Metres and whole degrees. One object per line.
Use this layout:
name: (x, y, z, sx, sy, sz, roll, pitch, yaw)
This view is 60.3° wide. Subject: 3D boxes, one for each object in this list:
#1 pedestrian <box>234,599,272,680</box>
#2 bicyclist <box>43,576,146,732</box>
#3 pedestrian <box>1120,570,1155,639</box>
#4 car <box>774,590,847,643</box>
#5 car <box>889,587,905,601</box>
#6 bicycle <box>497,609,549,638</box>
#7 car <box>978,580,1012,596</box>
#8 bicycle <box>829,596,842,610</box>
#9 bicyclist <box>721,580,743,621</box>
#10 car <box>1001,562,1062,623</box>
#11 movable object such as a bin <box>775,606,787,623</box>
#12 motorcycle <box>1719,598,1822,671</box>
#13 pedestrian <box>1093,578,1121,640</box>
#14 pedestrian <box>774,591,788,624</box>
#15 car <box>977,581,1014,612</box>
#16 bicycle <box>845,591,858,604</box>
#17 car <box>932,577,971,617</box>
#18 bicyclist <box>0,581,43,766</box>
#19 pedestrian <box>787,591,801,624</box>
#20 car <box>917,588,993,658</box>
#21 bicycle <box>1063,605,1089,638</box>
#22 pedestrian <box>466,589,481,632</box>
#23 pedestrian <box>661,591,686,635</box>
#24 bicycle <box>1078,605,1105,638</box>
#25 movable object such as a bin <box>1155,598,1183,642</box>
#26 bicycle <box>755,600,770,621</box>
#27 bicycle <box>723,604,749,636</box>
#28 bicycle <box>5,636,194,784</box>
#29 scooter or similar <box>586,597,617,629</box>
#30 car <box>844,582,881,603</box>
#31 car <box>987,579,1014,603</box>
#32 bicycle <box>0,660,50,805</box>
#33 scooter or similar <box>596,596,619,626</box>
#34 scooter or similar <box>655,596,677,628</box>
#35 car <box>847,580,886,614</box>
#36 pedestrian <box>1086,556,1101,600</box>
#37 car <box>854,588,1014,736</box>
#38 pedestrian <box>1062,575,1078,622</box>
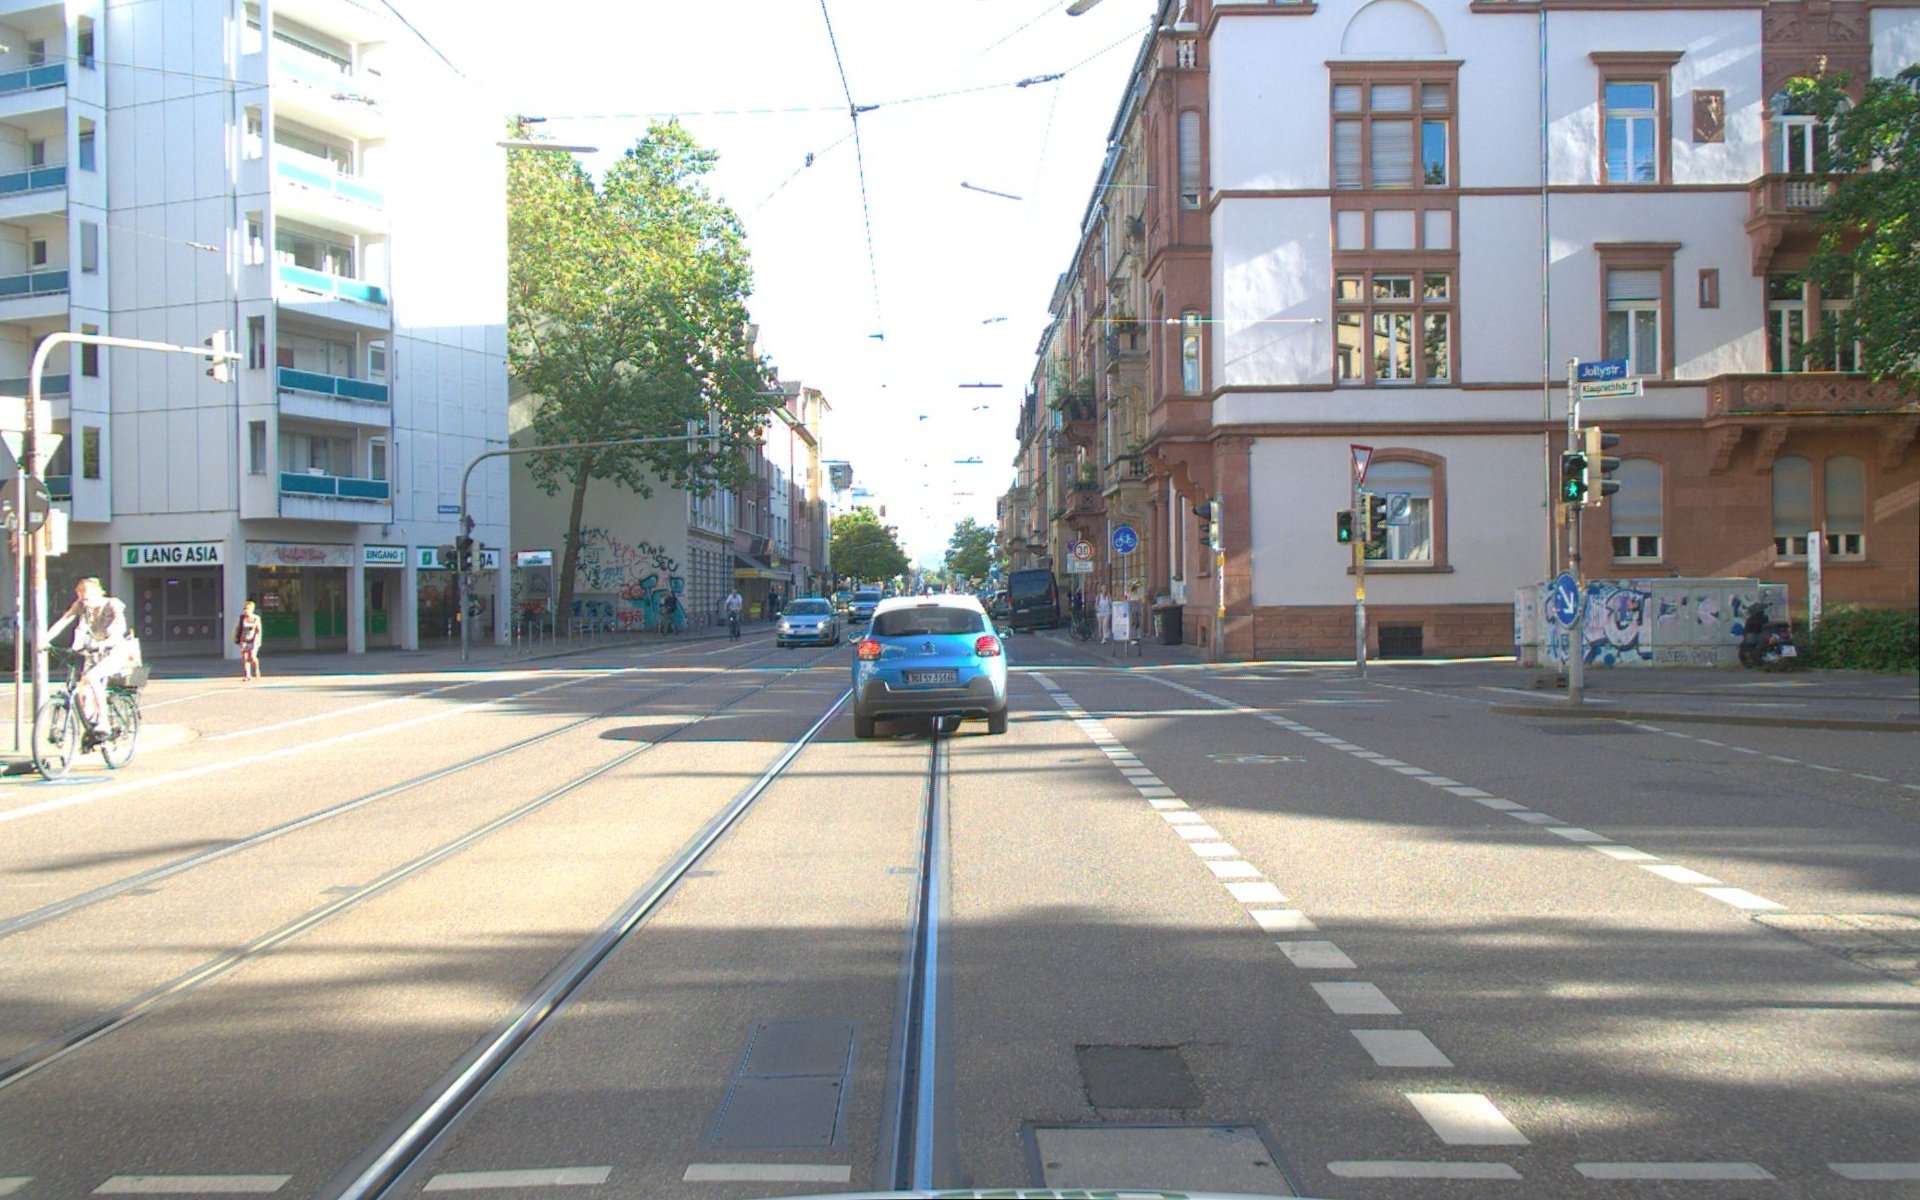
pedestrian: (-14.145, 0.785, 33.111, 0.531, 1.579, 0.516, -1, 0, -2)
bicyclist: (-7.966, 0.485, 15.246, 0.578, 1.400, 0.679, -1, 0, -2)
pedestrian: (4.895, 0.123, 45.591, 0.691, 1.812, 0.672, -6, 0, -2)
car: (-4.609, 0.486, 51.544, 1.945, 1.528, 4.307, -1, 1, -2)
car: (-7.692, -0.757, 202.400, 1.953, 1.679, 3.999, -1, 1, -2)
bicycle: (-16.389, 0.883, 62.041, 1.878, 1.052, 0.665, -1, 0, 26)
car: (3.935, -1.369, 187.134, 3.759, 1.646, 1.790, -1, 0, -3)
bicycle: (-12.168, 0.287, 161.611, 1.099, 1.342, 3.639, -1, 1, -6)
bicyclist: (-8.443, 0.013, 61.225, 0.668, 1.509, 0.778, -1, 0, -2)
car: (2.999, -0.333, 70.229, 2.225, 2.479, 5.719, -1, 0, -1)
movable object such as a bin: (-10.132, 0.838, 93.699, 0.598, 0.930, 0.695, -1, 0, -1)
motorcycle: (14.317, 0.586, 29.295, 0.598, 1.144, 2.390, -1, 2, -2)
pedestrian: (4.151, 0.253, 46.845, 0.615, 1.731, 0.681, -1, 0, -10)
pedestrian: (-10.041, 0.424, 93.043, 0.696, 1.795, 0.570, -1, 0, -2)
car: (2.057, -0.232, 97.620, 1.965, 1.701, 4.805, -1, 1, -1)
bicycle: (-10.638, -0.261, 161.876, 1.099, 1.166, 3.639, -1, 1, -6)
car: (-0.492, -0.188, 88.726, 1.953, 2.049, 3.999, -1, 1, -2)
bicyclist: (-7.656, 0.569, 12.436, 0.720, 1.405, 1.468, -1, 0, -2)
pedestrian: (-9.356, 0.413, 93.387, 0.697, 1.795, 0.653, -1, 0, -9)
car: (-0.163, 0.508, 38.855, 1.633, 1.504, 3.999, -1, 1, -2)
bicycle: (3.490, 0.642, 49.832, 0.423, 0.964, 1.760, -1, 0, -8)
pedestrian: (-19.986, 0.447, 67.965, 0.446, 1.748, 0.547, -1, 0, -2)
pedestrian: (-11.730, 0.517, 67.703, 0.668, 1.796, 1.026, -1, 0, 10)
bicycle: (3.964, 0.648, 49.905, 0.423, 0.964, 1.760, -1, 0, -8)
movable object such as a bin: (5.605, 0.538, 44.334, 0.652, 1.174, 0.594, -1, 0, -2)
bicycle: (-11.568, 0.595, 96.854, 0.610, 1.180, 2.058, -1, 1, -14)
bicycle: (-8.261, 0.726, 61.083, 0.679, 1.140, 2.083, -1, 1, -2)
bicycle: (-7.911, 0.976, 15.318, 0.716, 1.204, 2.061, -1, 0, -2)
scooter or similar: (-14.842, 0.518, 68.502, 1.207, 1.280, 0.765, -1, 0, -13)
car: (-12.401, -0.987, 210.384, 4.256, 2.626, 2.191, -1, 0, -27)
car: (2.962, -0.683, 121.533, 1.964, 1.701, 4.391, -1, 0, 1)
bicycle: (-7.745, 1.041, 12.438, 0.716, 1.084, 2.061, -1, 0, -2)
scooter or similar: (-14.814, 0.460, 69.443, 0.921, 1.243, 0.765, -1, 0, -13)
scooter or similar: (-12.408, 0.492, 69.854, 0.772, 1.294, 1.074, 1, 2, -2)
car: (-5.060, -0.199, 90.031, 1.953, 1.774, 4.561, -1, 0, -2)
pedestrian: (5.590, -0.929, 69.459, 0.542, 1.813, 0.606, -1, 0, -2)
car: (-0.294, 0.630, 19.097, 1.640, 1.503, 3.999, -1, 0, -1)
pedestrian: (4.776, -0.058, 71.986, 0.573, 2.049, 0.823, -1, 0, -2)
